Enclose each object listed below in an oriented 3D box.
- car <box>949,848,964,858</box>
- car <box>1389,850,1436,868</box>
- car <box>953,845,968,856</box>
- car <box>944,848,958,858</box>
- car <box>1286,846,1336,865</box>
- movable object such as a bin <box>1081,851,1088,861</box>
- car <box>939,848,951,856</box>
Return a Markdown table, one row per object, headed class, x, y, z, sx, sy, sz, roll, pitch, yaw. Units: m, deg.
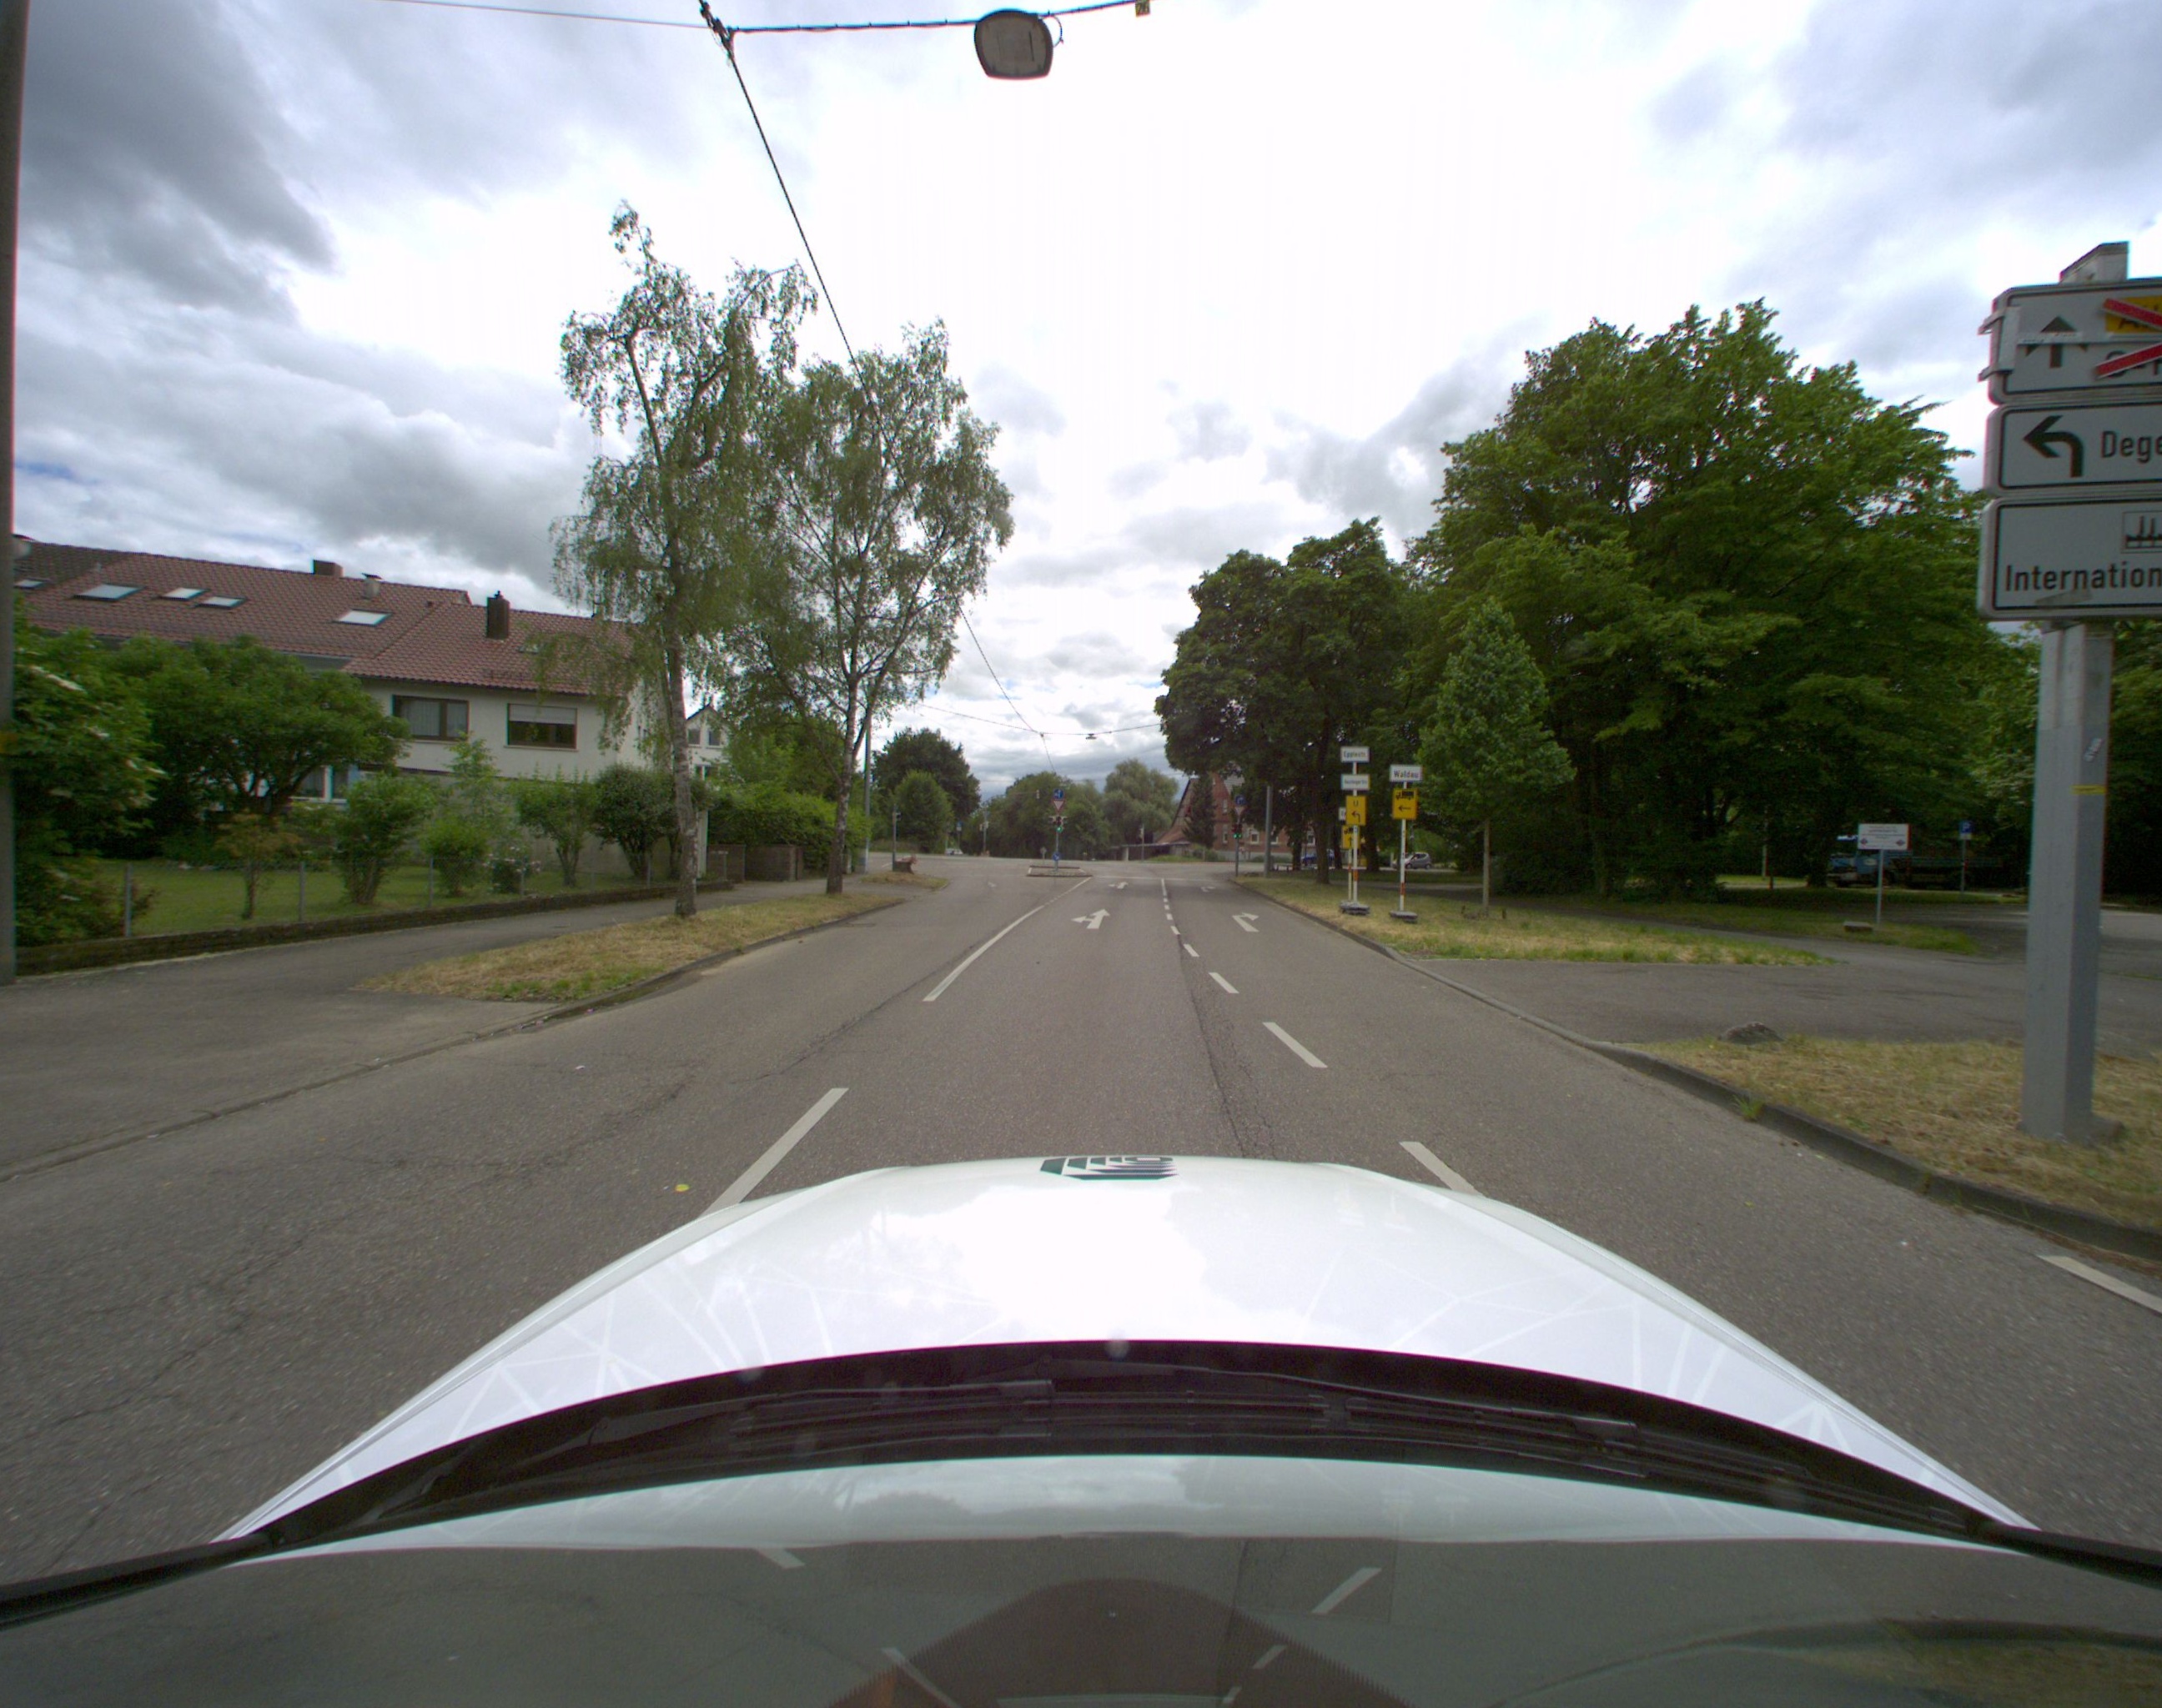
| class | x | y | z | sx | sy | sz | roll | pitch | yaw |
| --- | --- | --- | --- | --- | --- | --- | --- | --- | --- |
| car | -18.794 | -0.165 | 122.825 | 1.797 | 1.409 | 3.981 | 1 | 0 | -14 |
| car | 29.867 | 0.430 | 73.422 | 3.474 | 1.531 | 1.986 | 1 | 0 | -21 |
| car | -17.212 | -0.491 | 116.257 | 1.797 | 1.512 | 3.981 | 1 | 0 | -14 |
| car | -20.717 | -0.189 | 129.559 | 1.797 | 1.409 | 3.981 | 1 | 0 | -14 |
| car | 20.708 | 0.099 | 73.251 | 3.852 | 1.647 | 1.990 | 1 | 0 | -15 |
| movable object such as a bin | 0.393 | 0.227 | 87.836 | 0.635 | 1.001 | 0.580 | 2 | -2 | -23 |
| car | -23.576 | -0.312 | 141.369 | 1.797 | 1.409 | 3.981 | 1 | 0 | -14 |
